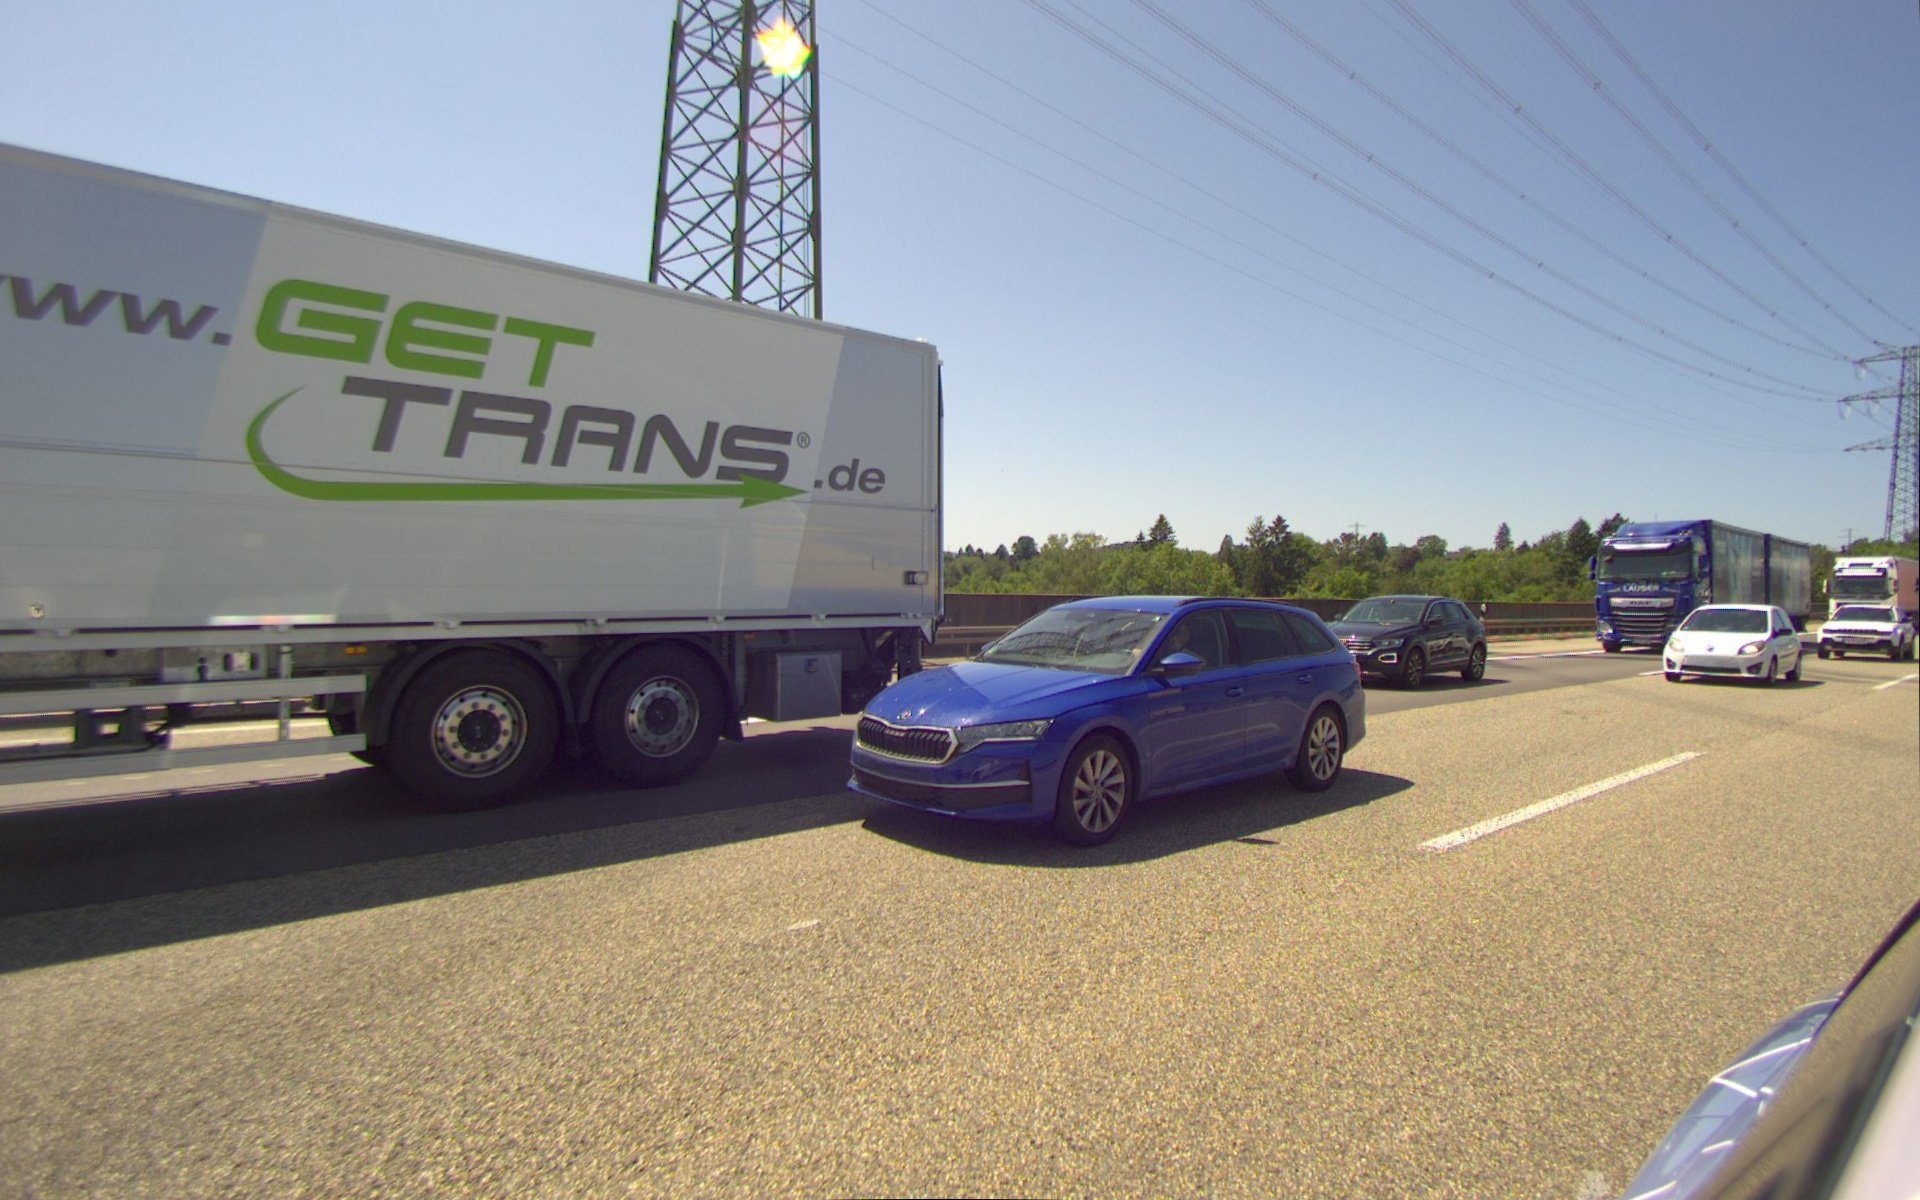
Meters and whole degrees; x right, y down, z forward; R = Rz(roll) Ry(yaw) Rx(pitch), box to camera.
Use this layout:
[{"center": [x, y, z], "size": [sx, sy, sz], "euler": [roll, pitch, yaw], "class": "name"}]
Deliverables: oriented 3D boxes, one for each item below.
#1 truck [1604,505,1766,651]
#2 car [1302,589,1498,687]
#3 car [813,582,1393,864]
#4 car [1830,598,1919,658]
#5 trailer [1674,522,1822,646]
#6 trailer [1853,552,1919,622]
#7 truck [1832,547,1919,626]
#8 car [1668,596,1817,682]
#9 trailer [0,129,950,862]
[{"center": [22.651, -0.606, 31.427], "size": [7.791, 4.018, 2.514], "euler": [0, 0, -42], "class": "truck"}, {"center": [7.802, 0.591, 17.817], "size": [3.821, 1.524, 1.708], "euler": [0, 0, -41], "class": "car"}, {"center": [1.272, 0.628, 7.349], "size": [4.421, 1.458, 1.713], "euler": [0, 0, -41], "class": "car"}, {"center": [25.684, 0.726, 28.211], "size": [3.688, 1.554, 1.720], "euler": [0, 0, -42], "class": "car"}, {"center": [29.507, -0.575, 37.647], "size": [10.699, 4.044, 2.540], "euler": [-1, 0, -42], "class": "trailer"}, {"center": [54.704, -0.740, 59.064], "size": [8.539, 3.849, 2.901], "euler": [-1, 0, -42], "class": "trailer"}, {"center": [49.040, -0.692, 54.024], "size": [6.625, 3.941, 2.911], "euler": [0, 0, -42], "class": "truck"}, {"center": [14.836, 0.670, 19.131], "size": [3.566, 1.458, 1.582], "euler": [0, 0, -41], "class": "car"}, {"center": [-4.061, -0.519, 7.577], "size": [8.149, 3.640, 2.848], "euler": [0, 0, -42], "class": "trailer"}]
